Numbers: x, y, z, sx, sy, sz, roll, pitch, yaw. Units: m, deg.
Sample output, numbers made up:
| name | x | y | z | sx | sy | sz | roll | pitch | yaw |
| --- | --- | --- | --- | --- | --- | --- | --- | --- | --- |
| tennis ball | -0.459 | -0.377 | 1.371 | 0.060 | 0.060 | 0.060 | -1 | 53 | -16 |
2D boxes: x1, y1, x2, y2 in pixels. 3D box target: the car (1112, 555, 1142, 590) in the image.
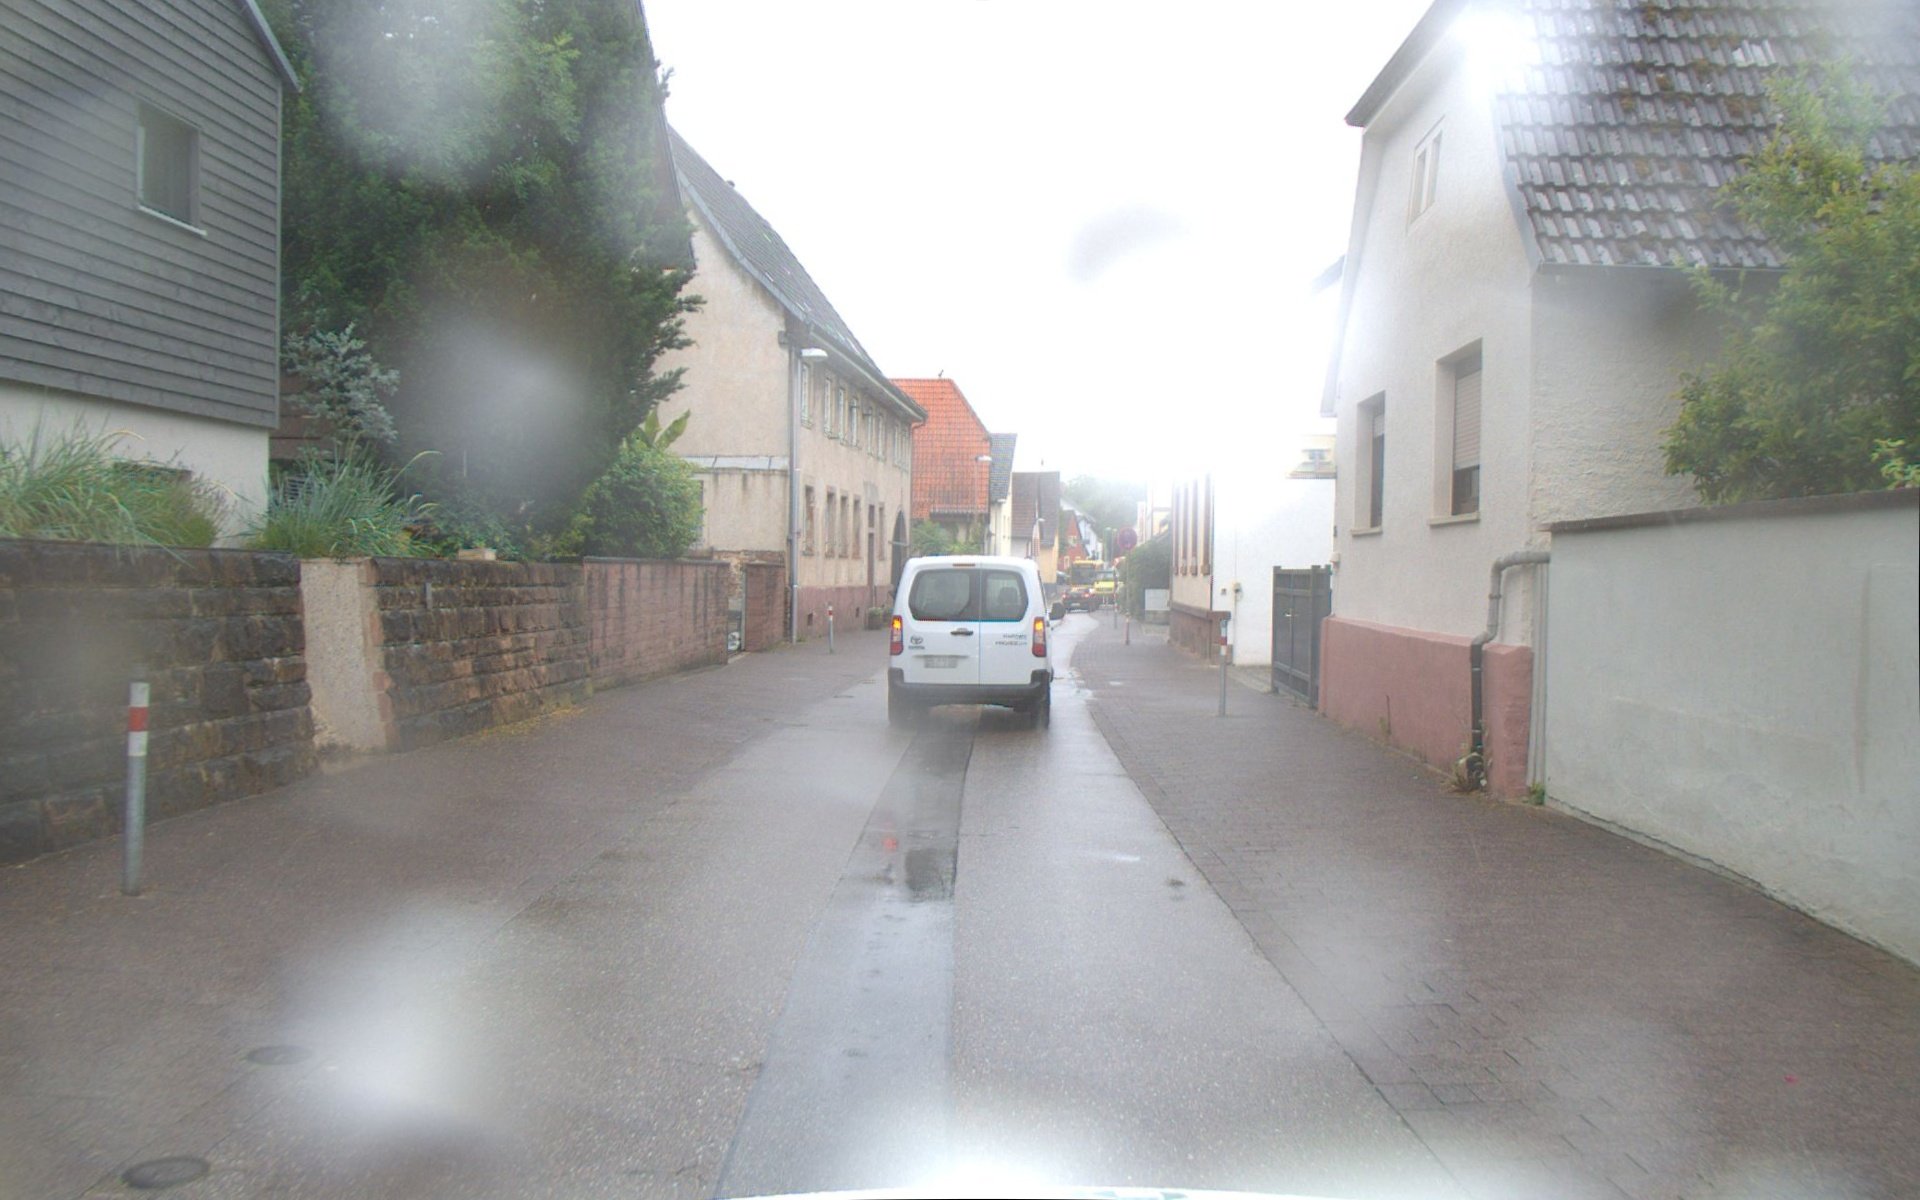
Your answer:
| name | x | y | z | sx | sy | sz | roll | pitch | yaw |
| --- | --- | --- | --- | --- | --- | --- | --- | --- | --- |
| car | 10.406 | -1.676 | 103.191 | 1.788 | 2.049 | 3.696 | 2 | 0 | 6 |

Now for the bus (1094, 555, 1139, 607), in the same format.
| name | x | y | z | sx | sy | sz | roll | pitch | yaw |
| --- | --- | --- | --- | --- | --- | --- | --- | --- | --- |
| bus | 10.559 | -1.200 | 111.157 | 2.734 | 3.235 | 8.183 | 3 | 0 | 6 |

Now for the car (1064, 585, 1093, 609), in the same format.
| name | x | y | z | sx | sy | sz | roll | pitch | yaw |
| --- | --- | --- | --- | --- | --- | --- | --- | --- | --- |
| car | 7.155 | -0.183 | 99.664 | 1.528 | 1.395 | 3.588 | -1 | 0 | 6 |

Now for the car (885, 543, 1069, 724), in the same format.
| name | x | y | z | sx | sy | sz | roll | pitch | yaw |
| --- | --- | --- | --- | --- | --- | --- | --- | --- | --- |
| car | 0.307 | 0.351 | 19.096 | 1.757 | 1.850 | 4.104 | 0 | 0 | 5 |

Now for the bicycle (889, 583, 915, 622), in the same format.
| name | x | y | z | sx | sy | sz | roll | pitch | yaw |
| --- | --- | --- | --- | --- | --- | --- | --- | --- | --- |
| bicycle | -1.816 | 0.084 | 52.249 | 0.473 | 1.200 | 1.837 | 2 | 0 | 8 |

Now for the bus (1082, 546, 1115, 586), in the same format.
| name | x | y | z | sx | sy | sz | roll | pitch | yaw |
| --- | --- | --- | --- | --- | --- | --- | --- | --- | --- |
| bus | 12.741 | -3.056 | 152.019 | 2.734 | 3.387 | 8.183 | 3 | 0 | 6 |
